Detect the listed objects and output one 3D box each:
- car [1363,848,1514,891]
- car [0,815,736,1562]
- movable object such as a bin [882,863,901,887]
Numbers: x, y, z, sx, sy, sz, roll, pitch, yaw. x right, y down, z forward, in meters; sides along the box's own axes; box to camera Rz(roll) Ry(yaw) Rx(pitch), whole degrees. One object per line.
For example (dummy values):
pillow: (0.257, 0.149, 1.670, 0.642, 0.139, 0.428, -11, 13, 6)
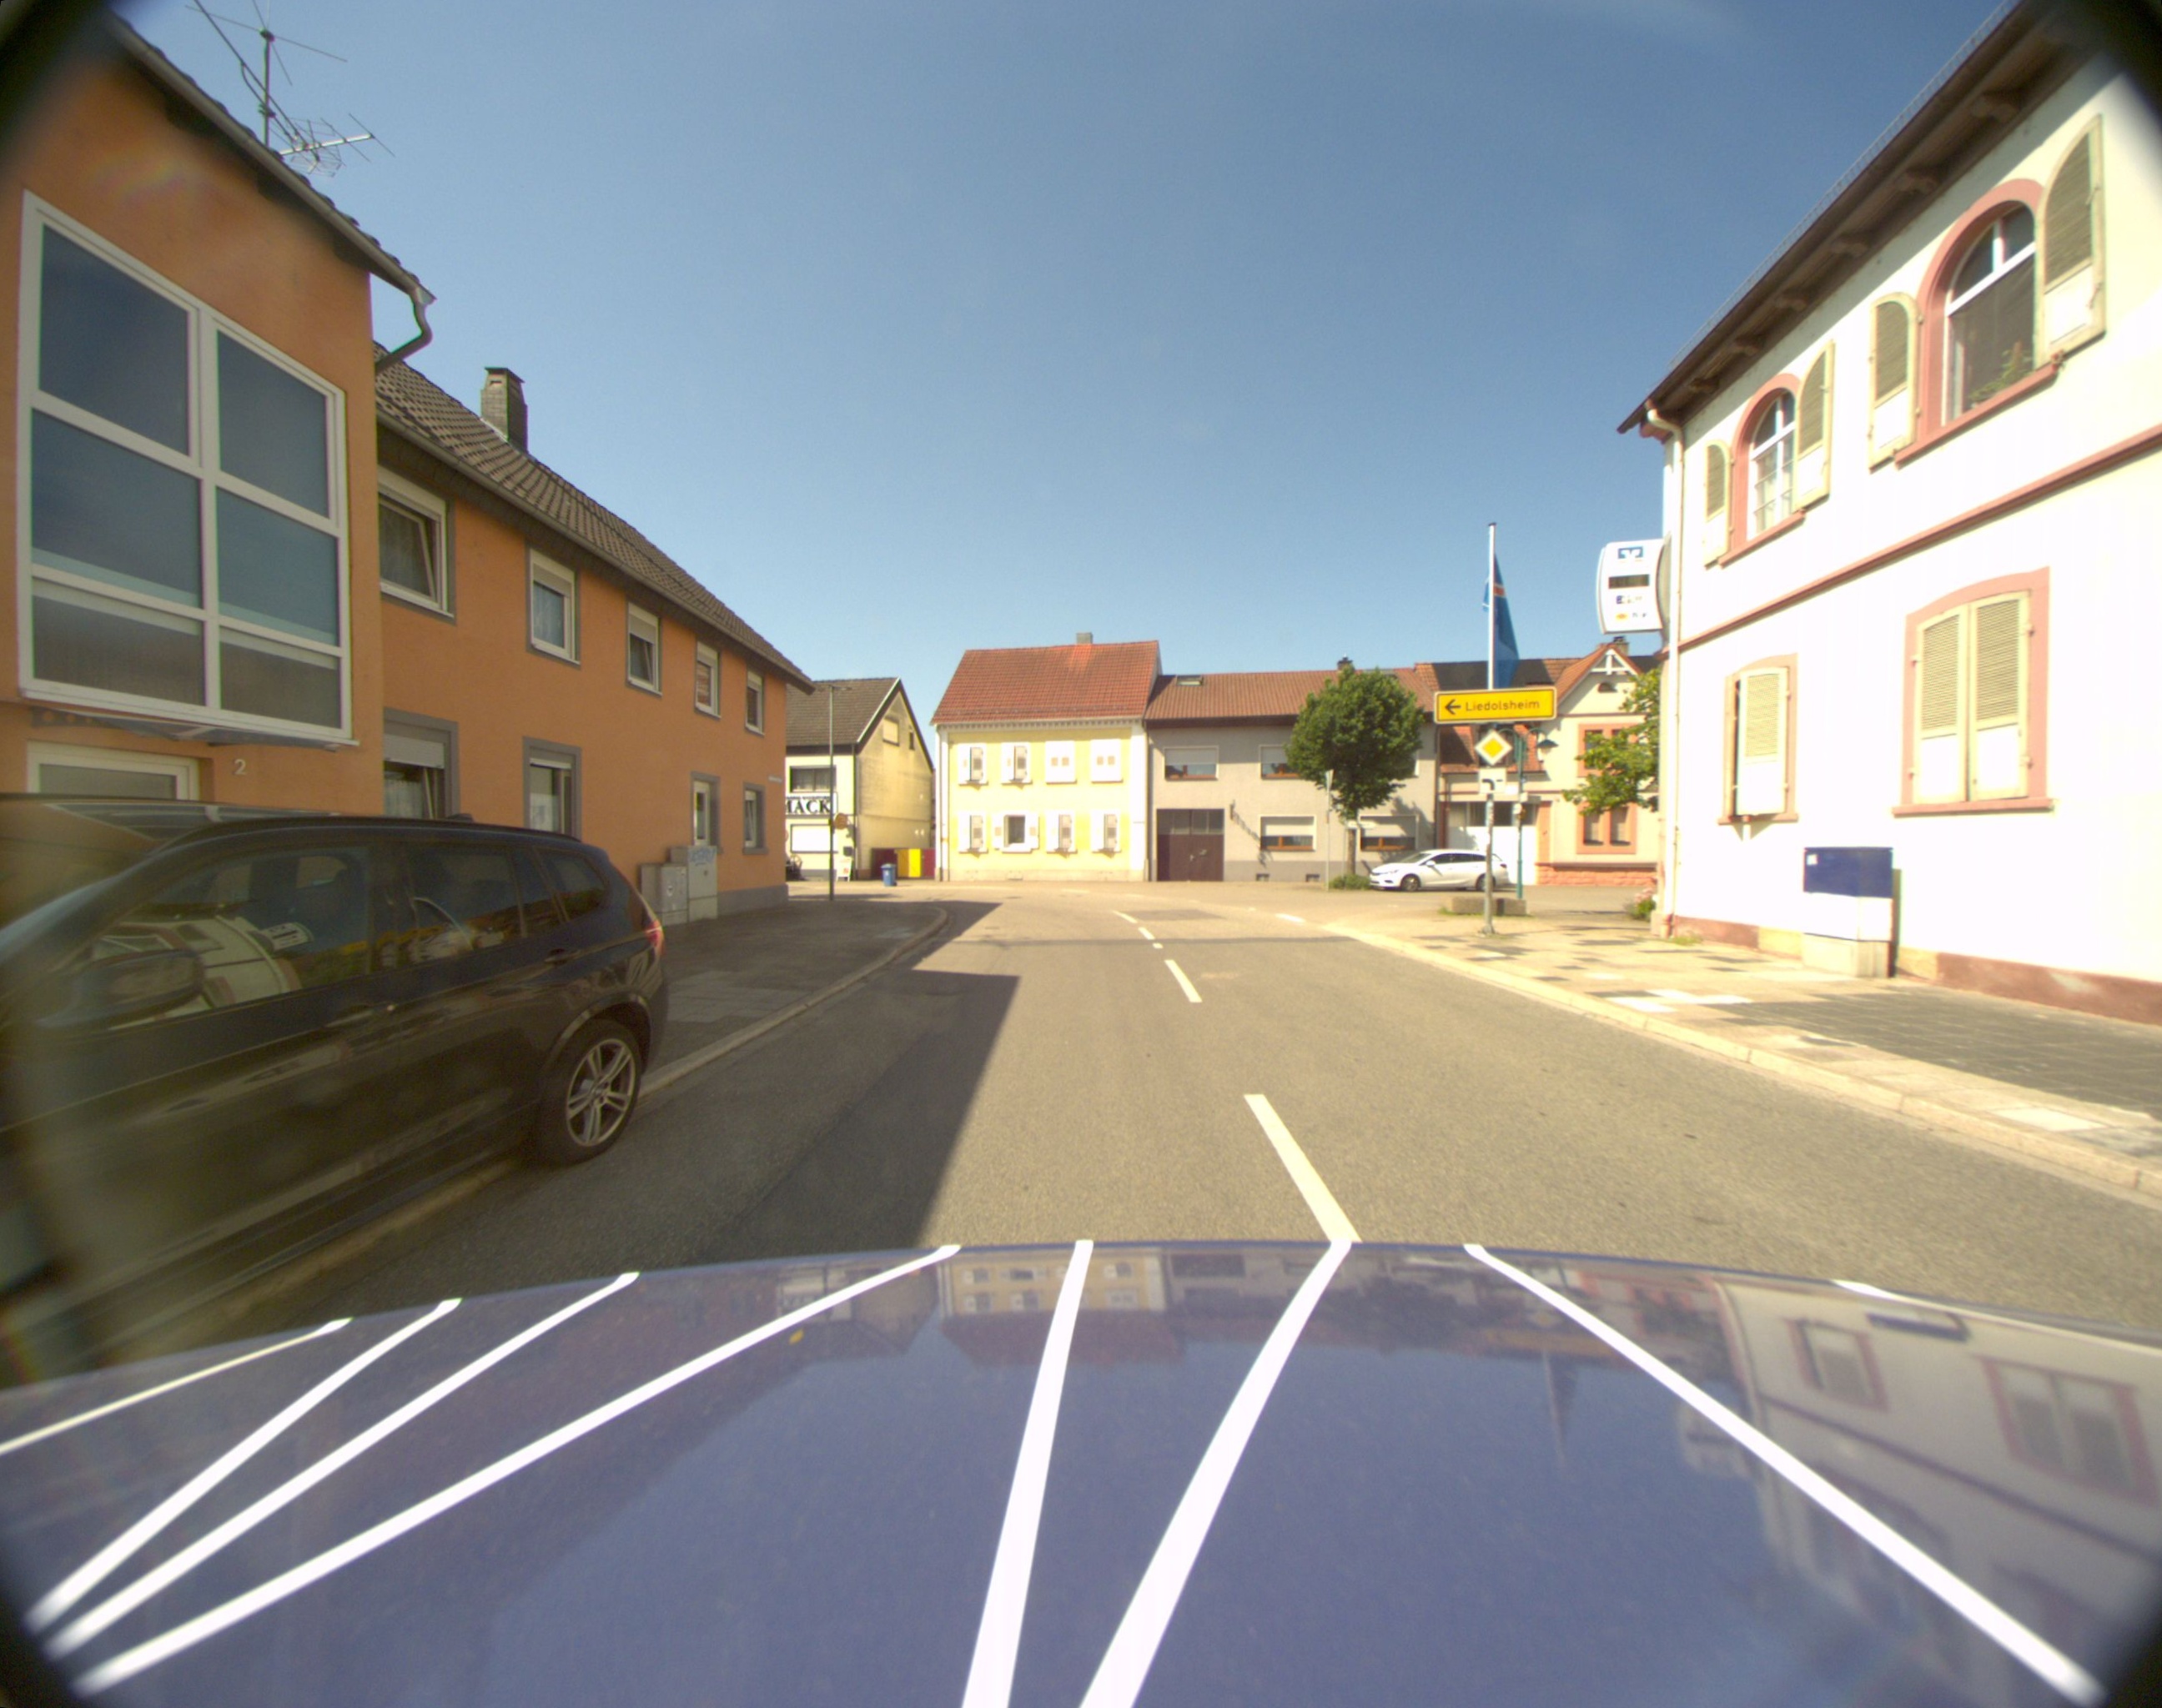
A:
car: (12.595, 0.518, 26.948, 4.510, 1.432, 1.854, -1, 1, -2)
car: (-3.337, 0.741, 2.564, 1.848, 1.693, 5.180, 1, 1, 2)
movable object such as a bin: (-8.018, 0.902, 32.219, 0.613, 0.975, 0.645, 0, 2, 2)
